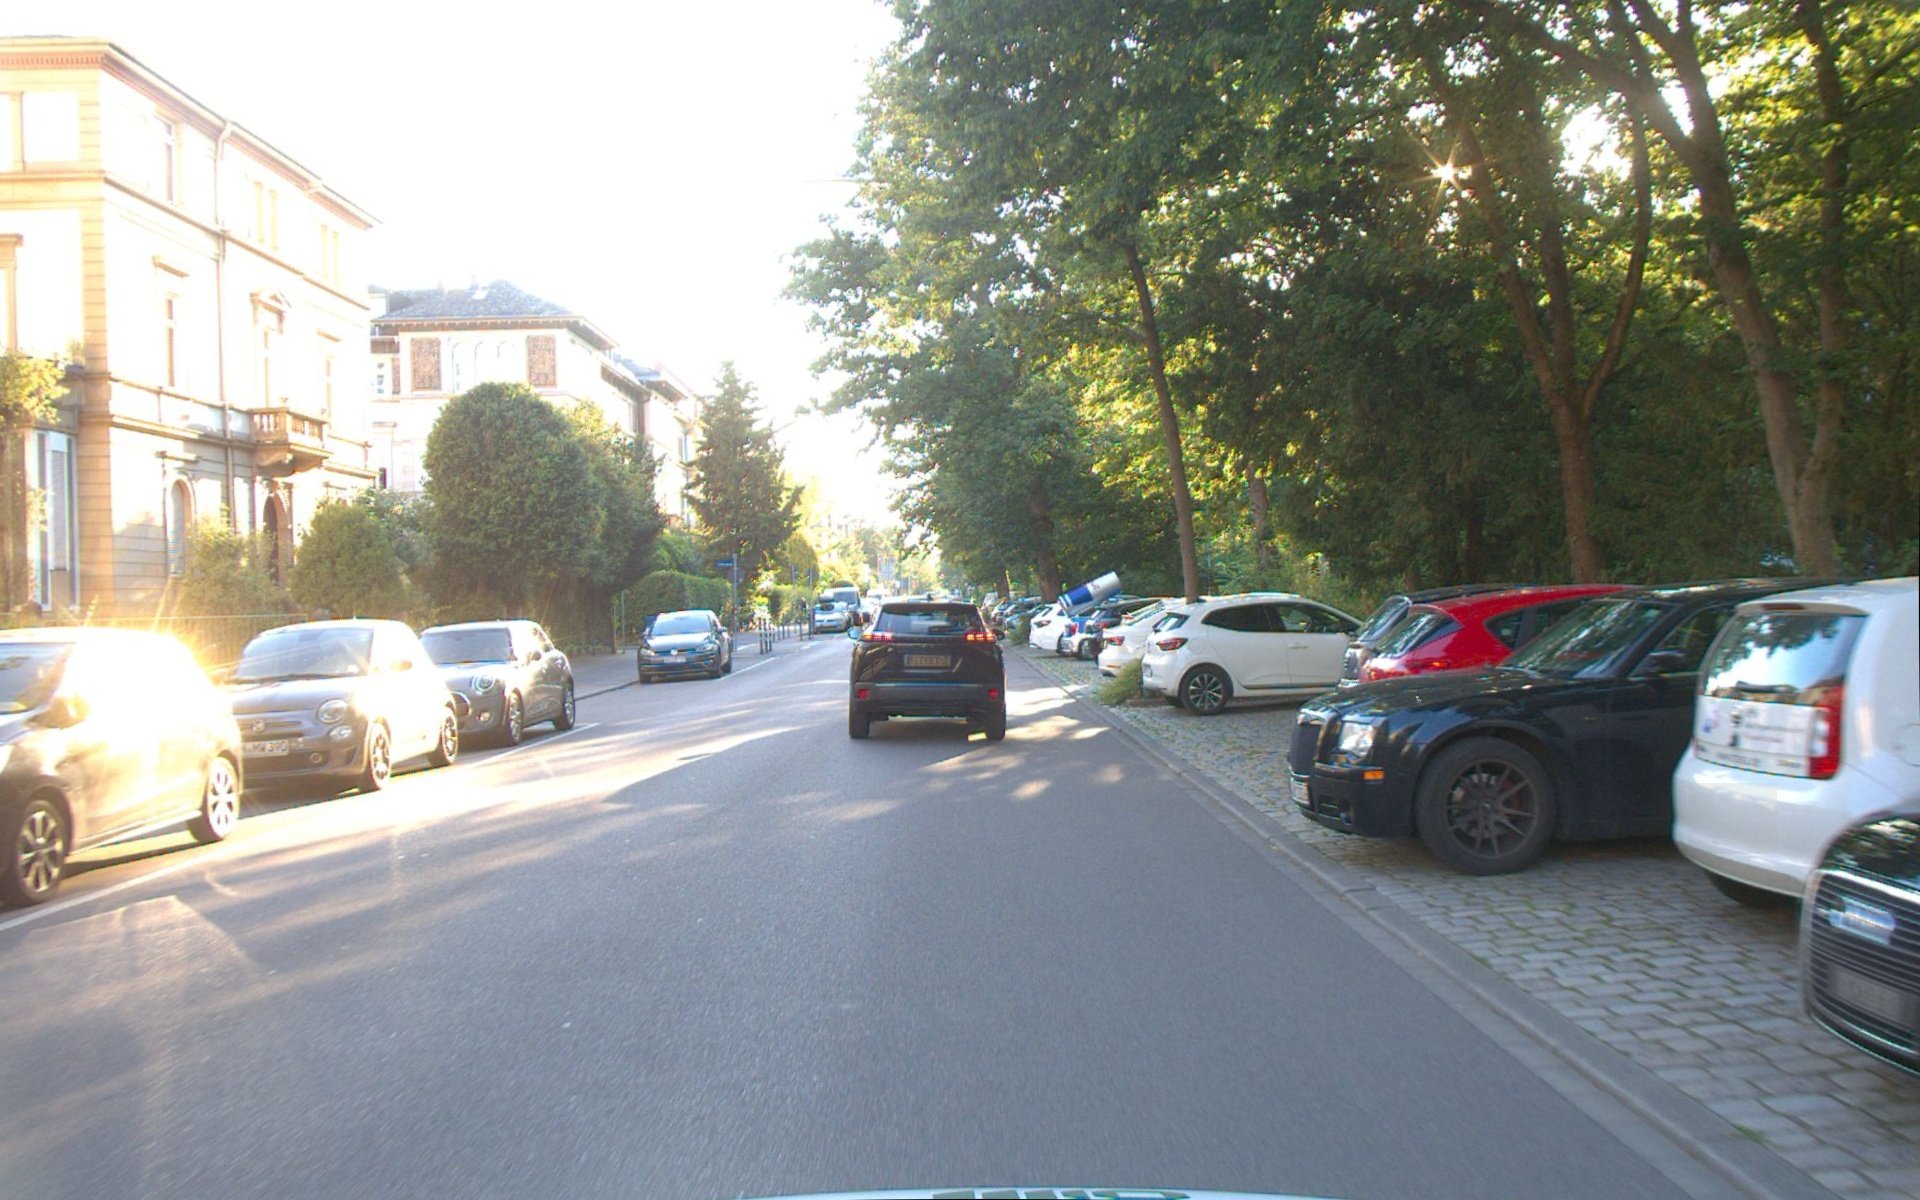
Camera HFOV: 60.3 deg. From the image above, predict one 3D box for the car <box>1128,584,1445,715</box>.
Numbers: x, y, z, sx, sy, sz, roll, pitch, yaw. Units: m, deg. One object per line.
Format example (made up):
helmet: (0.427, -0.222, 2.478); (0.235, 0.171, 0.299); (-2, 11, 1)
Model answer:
car: (4.269, 0.628, 21.982); (3.734, 1.474, 1.824); (-3, 0, -5)

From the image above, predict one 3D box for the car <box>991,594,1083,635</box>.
car: (3.308, 0.621, 71.687); (3.905, 1.652, 1.758); (-1, 0, 0)

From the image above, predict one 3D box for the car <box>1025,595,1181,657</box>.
car: (3.801, 0.680, 44.349); (3.910, 1.552, 1.756); (-1, 0, -6)

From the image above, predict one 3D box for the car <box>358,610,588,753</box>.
car: (-5.793, 0.908, 20.138); (1.581, 1.492, 4.035); (-2, 0, 0)

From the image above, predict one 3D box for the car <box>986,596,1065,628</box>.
car: (3.257, 0.604, 83.264); (3.905, 1.552, 1.758); (-1, 0, 0)

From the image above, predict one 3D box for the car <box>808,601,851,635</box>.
car: (-6.469, 0.886, 82.107); (1.861, 1.601, 3.999); (-1, 0, -1)

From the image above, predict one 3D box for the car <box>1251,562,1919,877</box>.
car: (4.024, 0.600, 9.730); (4.158, 1.474, 2.020); (-3, 0, -3)

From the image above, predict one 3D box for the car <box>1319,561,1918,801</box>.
car: (4.858, 0.558, 12.544); (3.734, 1.474, 1.875); (-3, 0, -5)

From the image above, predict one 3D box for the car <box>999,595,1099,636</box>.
car: (3.553, 0.600, 66.618); (3.905, 1.552, 1.758); (-1, 0, 0)

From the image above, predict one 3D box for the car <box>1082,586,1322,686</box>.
car: (4.269, 0.616, 29.526); (3.910, 1.653, 1.756); (-1, 0, -6)

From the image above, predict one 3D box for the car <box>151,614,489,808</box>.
car: (-5.803, 0.923, 15.525); (1.581, 1.492, 4.035); (-2, 0, 0)

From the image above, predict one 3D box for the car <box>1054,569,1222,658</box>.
car: (4.441, 0.327, 41.557); (3.910, 2.126, 1.756); (-1, 0, -6)

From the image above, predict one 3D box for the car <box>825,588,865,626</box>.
car: (-6.425, 0.376, 92.736); (1.953, 2.049, 4.000); (-1, 0, 0)

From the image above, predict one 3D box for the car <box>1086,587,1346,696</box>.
car: (4.173, 0.658, 27.252); (3.910, 1.653, 1.756); (-1, 0, -6)

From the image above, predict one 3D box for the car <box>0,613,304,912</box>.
car: (-5.713, 0.891, 10.301); (1.581, 1.492, 4.035); (-4, 0, 0)

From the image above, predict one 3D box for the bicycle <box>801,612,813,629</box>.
bicycle: (-9.619, 1.287, 103.835); (0.678, 1.033, 2.047); (-1, 0, -4)

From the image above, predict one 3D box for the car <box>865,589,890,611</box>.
car: (-7.148, 0.040, 143.792); (1.953, 1.847, 3.999); (-1, 0, -1)

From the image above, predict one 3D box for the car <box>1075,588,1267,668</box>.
car: (4.628, 0.598, 36.643); (3.910, 1.653, 1.756); (-1, 0, -6)

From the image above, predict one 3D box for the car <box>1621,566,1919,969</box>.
car: (5.069, 0.550, 7.061); (3.729, 1.474, 1.827); (-3, 0, 2)

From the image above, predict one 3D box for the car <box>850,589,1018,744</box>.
car: (-0.336, 0.691, 19.420); (1.736, 1.596, 4.107); (1, 0, -2)

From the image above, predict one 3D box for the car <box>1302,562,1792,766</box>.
car: (5.235, 0.543, 15.060); (3.734, 1.536, 1.824); (-3, 0, -5)

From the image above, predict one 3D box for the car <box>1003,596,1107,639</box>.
car: (3.655, 0.667, 64.052); (3.905, 1.552, 1.758); (-1, 0, 0)

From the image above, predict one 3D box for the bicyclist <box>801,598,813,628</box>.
bicyclist: (-9.631, 0.809, 103.874); (0.679, 1.823, 0.772); (-1, 0, -4)

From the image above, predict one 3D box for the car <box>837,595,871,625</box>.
car: (-6.654, 0.629, 104.603); (1.953, 1.799, 3.999); (-1, 0, -1)

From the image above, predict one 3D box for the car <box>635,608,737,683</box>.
car: (-6.037, 0.960, 36.809); (1.717, 1.438, 3.762); (-3, 0, -2)

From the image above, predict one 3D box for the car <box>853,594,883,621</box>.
car: (-6.690, 0.546, 120.386); (1.953, 1.847, 3.999); (-1, 0, -1)

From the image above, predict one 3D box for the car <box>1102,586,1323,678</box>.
car: (4.853, 0.605, 32.087); (3.910, 1.653, 1.756); (-1, 0, -6)

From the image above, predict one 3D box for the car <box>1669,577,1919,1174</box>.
car: (4.433, 0.598, 4.668); (4.071, 1.474, 1.731); (-3, 0, 2)

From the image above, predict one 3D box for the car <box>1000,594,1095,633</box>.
car: (3.656, 0.568, 69.449); (3.905, 1.552, 1.758); (-1, 0, 0)

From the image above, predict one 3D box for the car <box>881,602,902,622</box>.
car: (-6.754, 1.166, 163.209); (1.953, 1.847, 3.999); (-1, 0, -1)
